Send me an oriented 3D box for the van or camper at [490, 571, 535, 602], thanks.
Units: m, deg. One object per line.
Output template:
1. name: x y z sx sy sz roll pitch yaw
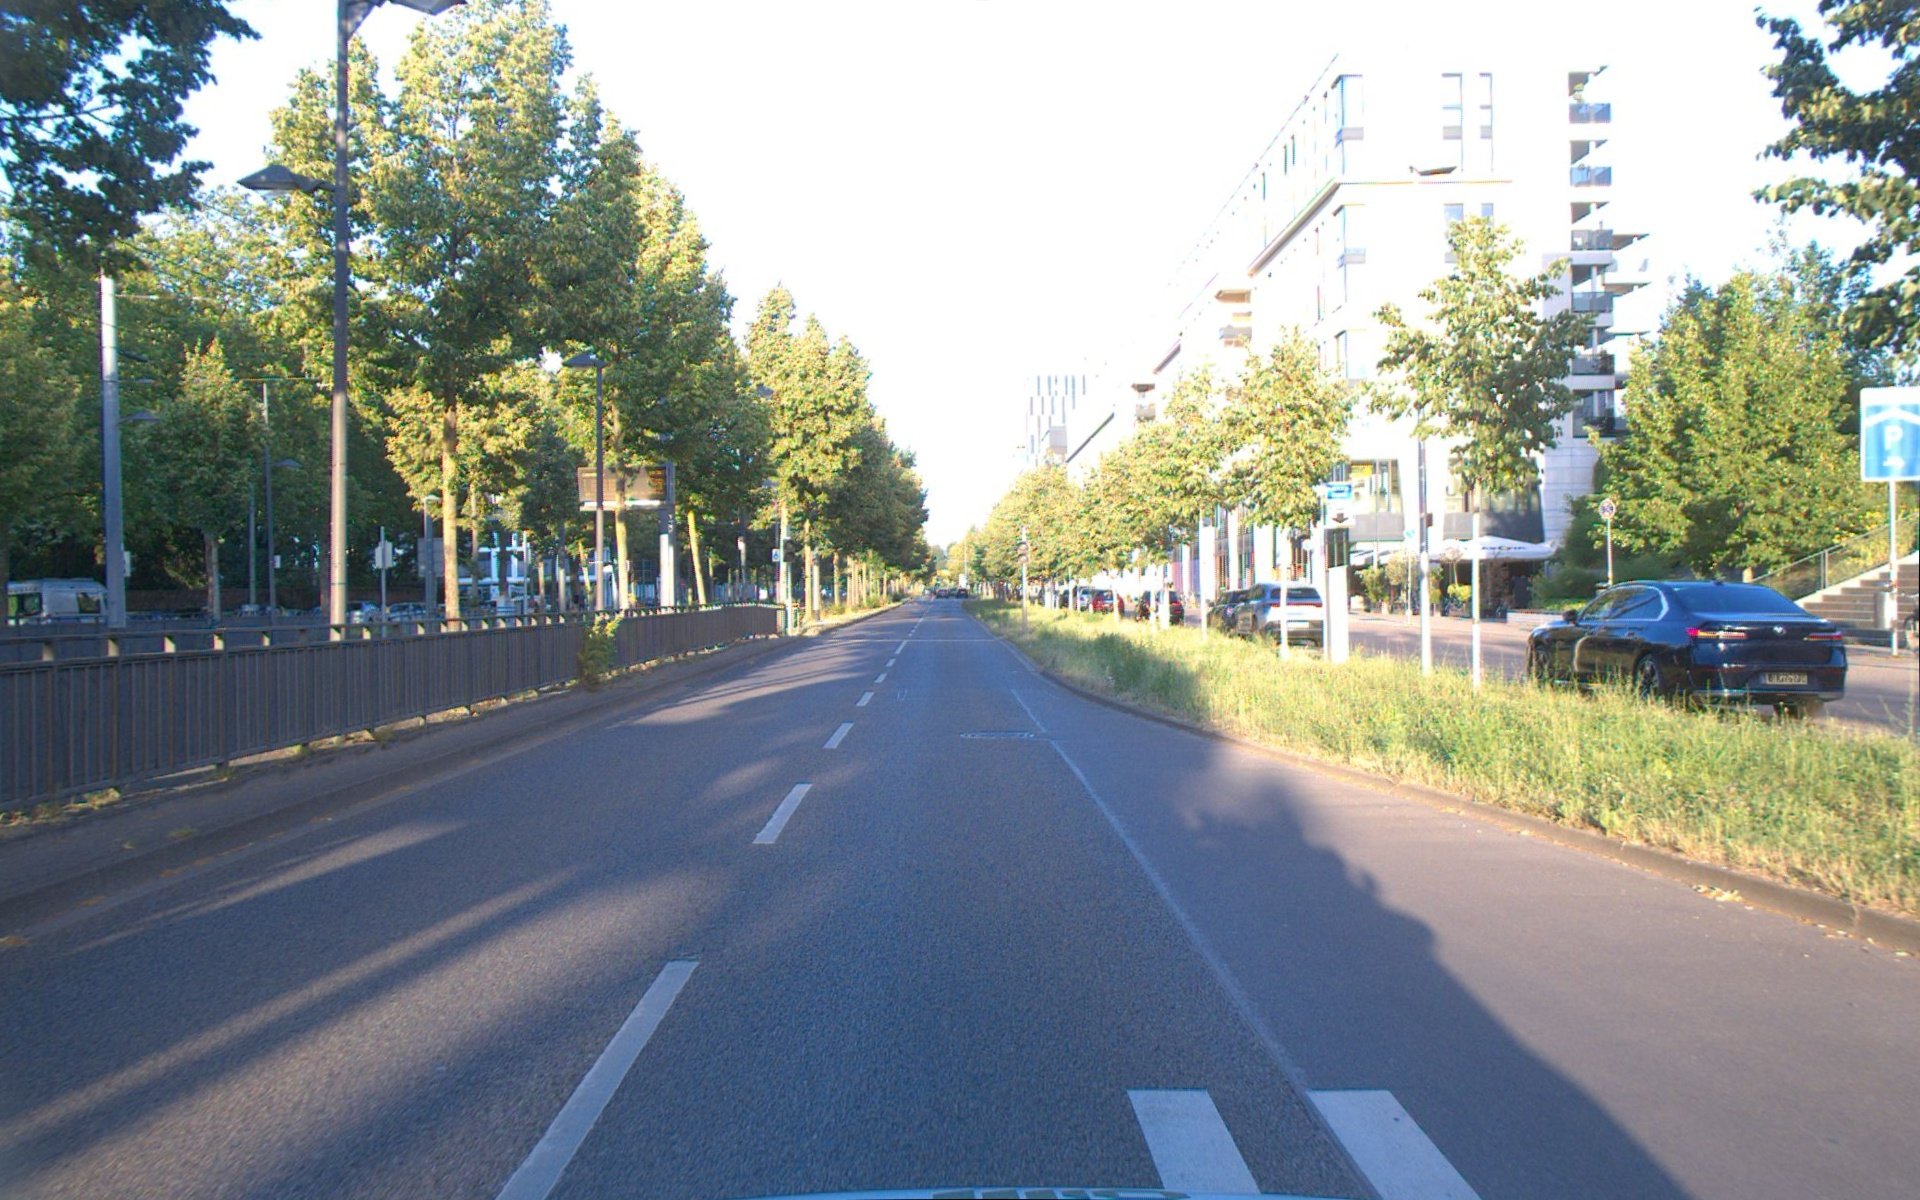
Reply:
1. van or camper: -47.034 -1.426 174.064 2.653 3.139 6.265 -1 0 3

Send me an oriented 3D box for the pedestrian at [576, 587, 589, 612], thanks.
1. pedestrian: -27.351 -0.049 119.821 0.679 1.773 0.866 -1 0 -3

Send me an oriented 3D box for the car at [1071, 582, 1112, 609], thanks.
1. car: 7.681 -0.301 96.998 1.882 1.527 5.009 -1 1 -1

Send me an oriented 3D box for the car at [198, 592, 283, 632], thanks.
1. car: -31.808 0.524 73.246 1.953 1.668 4.000 -1 0 0

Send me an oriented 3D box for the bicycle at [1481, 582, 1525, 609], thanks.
1. bicycle: 23.945 -0.209 72.926 1.759 1.127 0.500 -1 0 -5

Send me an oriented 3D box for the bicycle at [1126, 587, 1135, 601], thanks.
1. bicycle: 14.553 -0.501 141.544 0.527 1.184 1.781 -3 1 0

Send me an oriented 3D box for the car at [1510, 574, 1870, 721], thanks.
1. car: 8.593 0.471 20.126 1.881 1.527 5.410 -1 1 -1

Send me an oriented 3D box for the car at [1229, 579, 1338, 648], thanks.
1. car: 8.250 0.298 42.549 1.772 1.660 4.675 -1 1 -1

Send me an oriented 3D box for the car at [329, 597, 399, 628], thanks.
1. car: -30.938 0.627 86.046 1.953 1.525 4.557 -1 0 0

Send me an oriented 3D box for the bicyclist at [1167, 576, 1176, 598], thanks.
1. bicyclist: 15.851 -0.970 124.004 0.533 1.596 1.020 -1 0 2

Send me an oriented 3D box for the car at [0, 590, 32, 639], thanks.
1. car: -41.172 0.623 68.941 1.952 2.049 5.060 -1 0 3

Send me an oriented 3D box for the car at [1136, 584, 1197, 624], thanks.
1. car: 8.125 0.126 65.415 1.772 1.527 4.367 -1 1 -1

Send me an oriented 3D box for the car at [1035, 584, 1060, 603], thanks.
1. car: 7.268 -0.525 137.811 1.772 1.527 4.824 -1 1 -1

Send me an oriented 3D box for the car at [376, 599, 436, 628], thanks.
1. car: -30.719 0.725 91.861 1.861 1.525 4.306 -1 0 0

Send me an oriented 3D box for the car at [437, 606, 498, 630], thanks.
1. car: -29.999 1.103 100.876 1.952 1.338 5.144 -1 0 3

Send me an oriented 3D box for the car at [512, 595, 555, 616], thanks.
1. car: -31.604 0.373 122.587 1.952 1.512 4.001 -1 0 2

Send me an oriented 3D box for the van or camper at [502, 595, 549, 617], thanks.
1. van or camper: -38.876 0.507 147.976 3.915 1.822 1.995 -1 0 -11

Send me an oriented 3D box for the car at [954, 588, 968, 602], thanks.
1. car: 0.112 -0.825 248.069 1.953 2.049 3.999 -1 1 -1

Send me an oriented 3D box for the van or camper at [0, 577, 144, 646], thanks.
1. van or camper: -32.899 0.379 61.190 2.236 2.406 5.786 -1 0 4

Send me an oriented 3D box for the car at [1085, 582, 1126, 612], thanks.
1. car: 7.823 -0.174 89.082 1.772 1.527 3.958 -1 1 -1

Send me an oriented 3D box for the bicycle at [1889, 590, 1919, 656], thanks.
1. bicycle: 16.075 0.365 27.702 0.532 1.061 1.914 -1 0 18

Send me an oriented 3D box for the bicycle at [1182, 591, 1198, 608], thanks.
1. bicycle: 14.327 -0.048 102.966 0.607 1.051 2.260 -1 0 -2

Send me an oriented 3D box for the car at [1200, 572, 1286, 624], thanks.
1. car: 8.149 -0.078 47.912 1.714 1.422 3.999 0 0 -2

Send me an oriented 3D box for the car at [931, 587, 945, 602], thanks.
1. car: -3.209 -0.814 243.375 2.045 2.049 3.999 -1 1 -1

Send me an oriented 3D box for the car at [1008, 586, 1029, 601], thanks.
1. car: 6.442 -0.706 181.897 1.904 1.576 4.809 -1 0 -3

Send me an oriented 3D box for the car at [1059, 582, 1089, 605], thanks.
1. car: 7.663 -0.439 111.725 1.689 1.527 4.232 0 1 0

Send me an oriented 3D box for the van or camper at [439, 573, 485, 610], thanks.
1. van or camper: -38.426 -0.655 127.759 2.043 2.783 5.493 -1 0 -2

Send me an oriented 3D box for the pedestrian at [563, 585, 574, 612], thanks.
1. pedestrian: -28.250 -0.103 119.345 0.680 1.903 0.864 -1 0 -8
